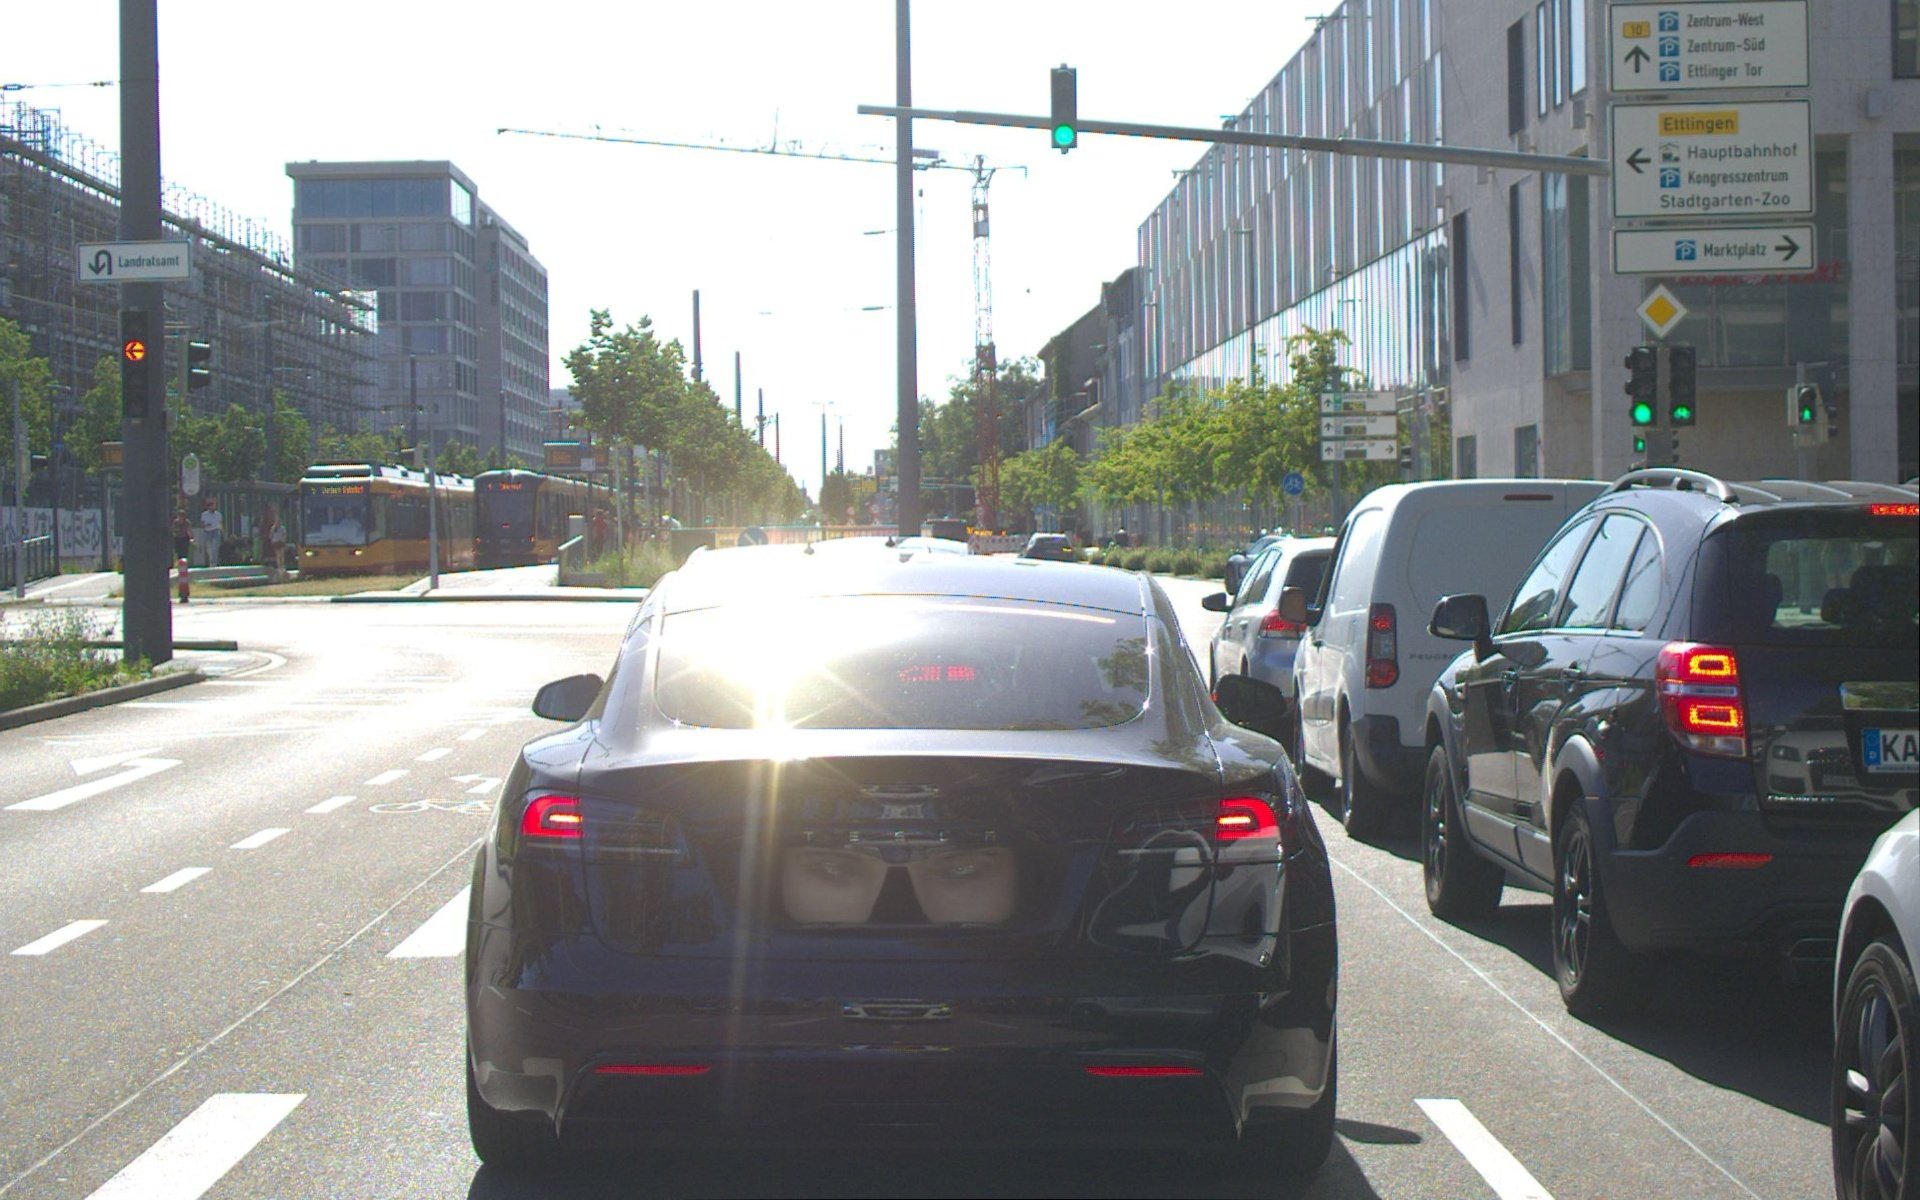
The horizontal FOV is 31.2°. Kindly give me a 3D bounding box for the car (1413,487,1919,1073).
[{"bbox_3d":[2.738,0.449,11.782,1.721,1.647,4.187,0,2,-1],"label":"car"}]

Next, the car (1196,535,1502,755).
[{"bbox_3d":[2.741,0.262,25.030,1.721,1.427,4.187,0,2,0],"label":"car"}]

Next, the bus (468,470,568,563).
[{"bbox_3d":[-14.874,-2.764,116.315,2.627,2.949,9.900,1,0,-3],"label":"bus"}]

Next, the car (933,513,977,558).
[{"bbox_3d":[-0.256,-3.009,161.471,1.993,2.007,4.000,1,0,-1],"label":"car"}]

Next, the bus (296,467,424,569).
[{"bbox_3d":[-17.280,-2.307,99.497,2.627,2.773,8.846,1,0,-3],"label":"bus"}]

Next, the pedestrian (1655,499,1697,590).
[{"bbox_3d":[11.536,-0.893,55.401,0.562,1.435,0.631,1,0,6],"label":"pedestrian"}]

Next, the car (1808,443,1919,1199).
[{"bbox_3d":[2.644,0.540,5.216,1.721,1.612,4.186,0,2,1],"label":"car"}]

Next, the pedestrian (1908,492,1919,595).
[{"bbox_3d":[13.707,-0.787,48.396,0.562,1.435,0.631,1,0,6],"label":"pedestrian"}]

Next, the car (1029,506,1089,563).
[{"bbox_3d":[3.591,-2.382,125.612,1.993,2.007,4.000,1,0,-1],"label":"car"}]

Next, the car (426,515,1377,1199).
[{"bbox_3d":[-0.174,0.529,8.953,1.912,1.481,4.010,0,2,-2],"label":"car"}]

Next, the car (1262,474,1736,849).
[{"bbox_3d":[2.753,0.235,18.465,1.721,1.776,4.187,0,2,-2],"label":"car"}]

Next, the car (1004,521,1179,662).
[{"bbox_3d":[1.383,-0.133,37.600,1.721,1.427,4.187,0,2,0],"label":"car"}]
